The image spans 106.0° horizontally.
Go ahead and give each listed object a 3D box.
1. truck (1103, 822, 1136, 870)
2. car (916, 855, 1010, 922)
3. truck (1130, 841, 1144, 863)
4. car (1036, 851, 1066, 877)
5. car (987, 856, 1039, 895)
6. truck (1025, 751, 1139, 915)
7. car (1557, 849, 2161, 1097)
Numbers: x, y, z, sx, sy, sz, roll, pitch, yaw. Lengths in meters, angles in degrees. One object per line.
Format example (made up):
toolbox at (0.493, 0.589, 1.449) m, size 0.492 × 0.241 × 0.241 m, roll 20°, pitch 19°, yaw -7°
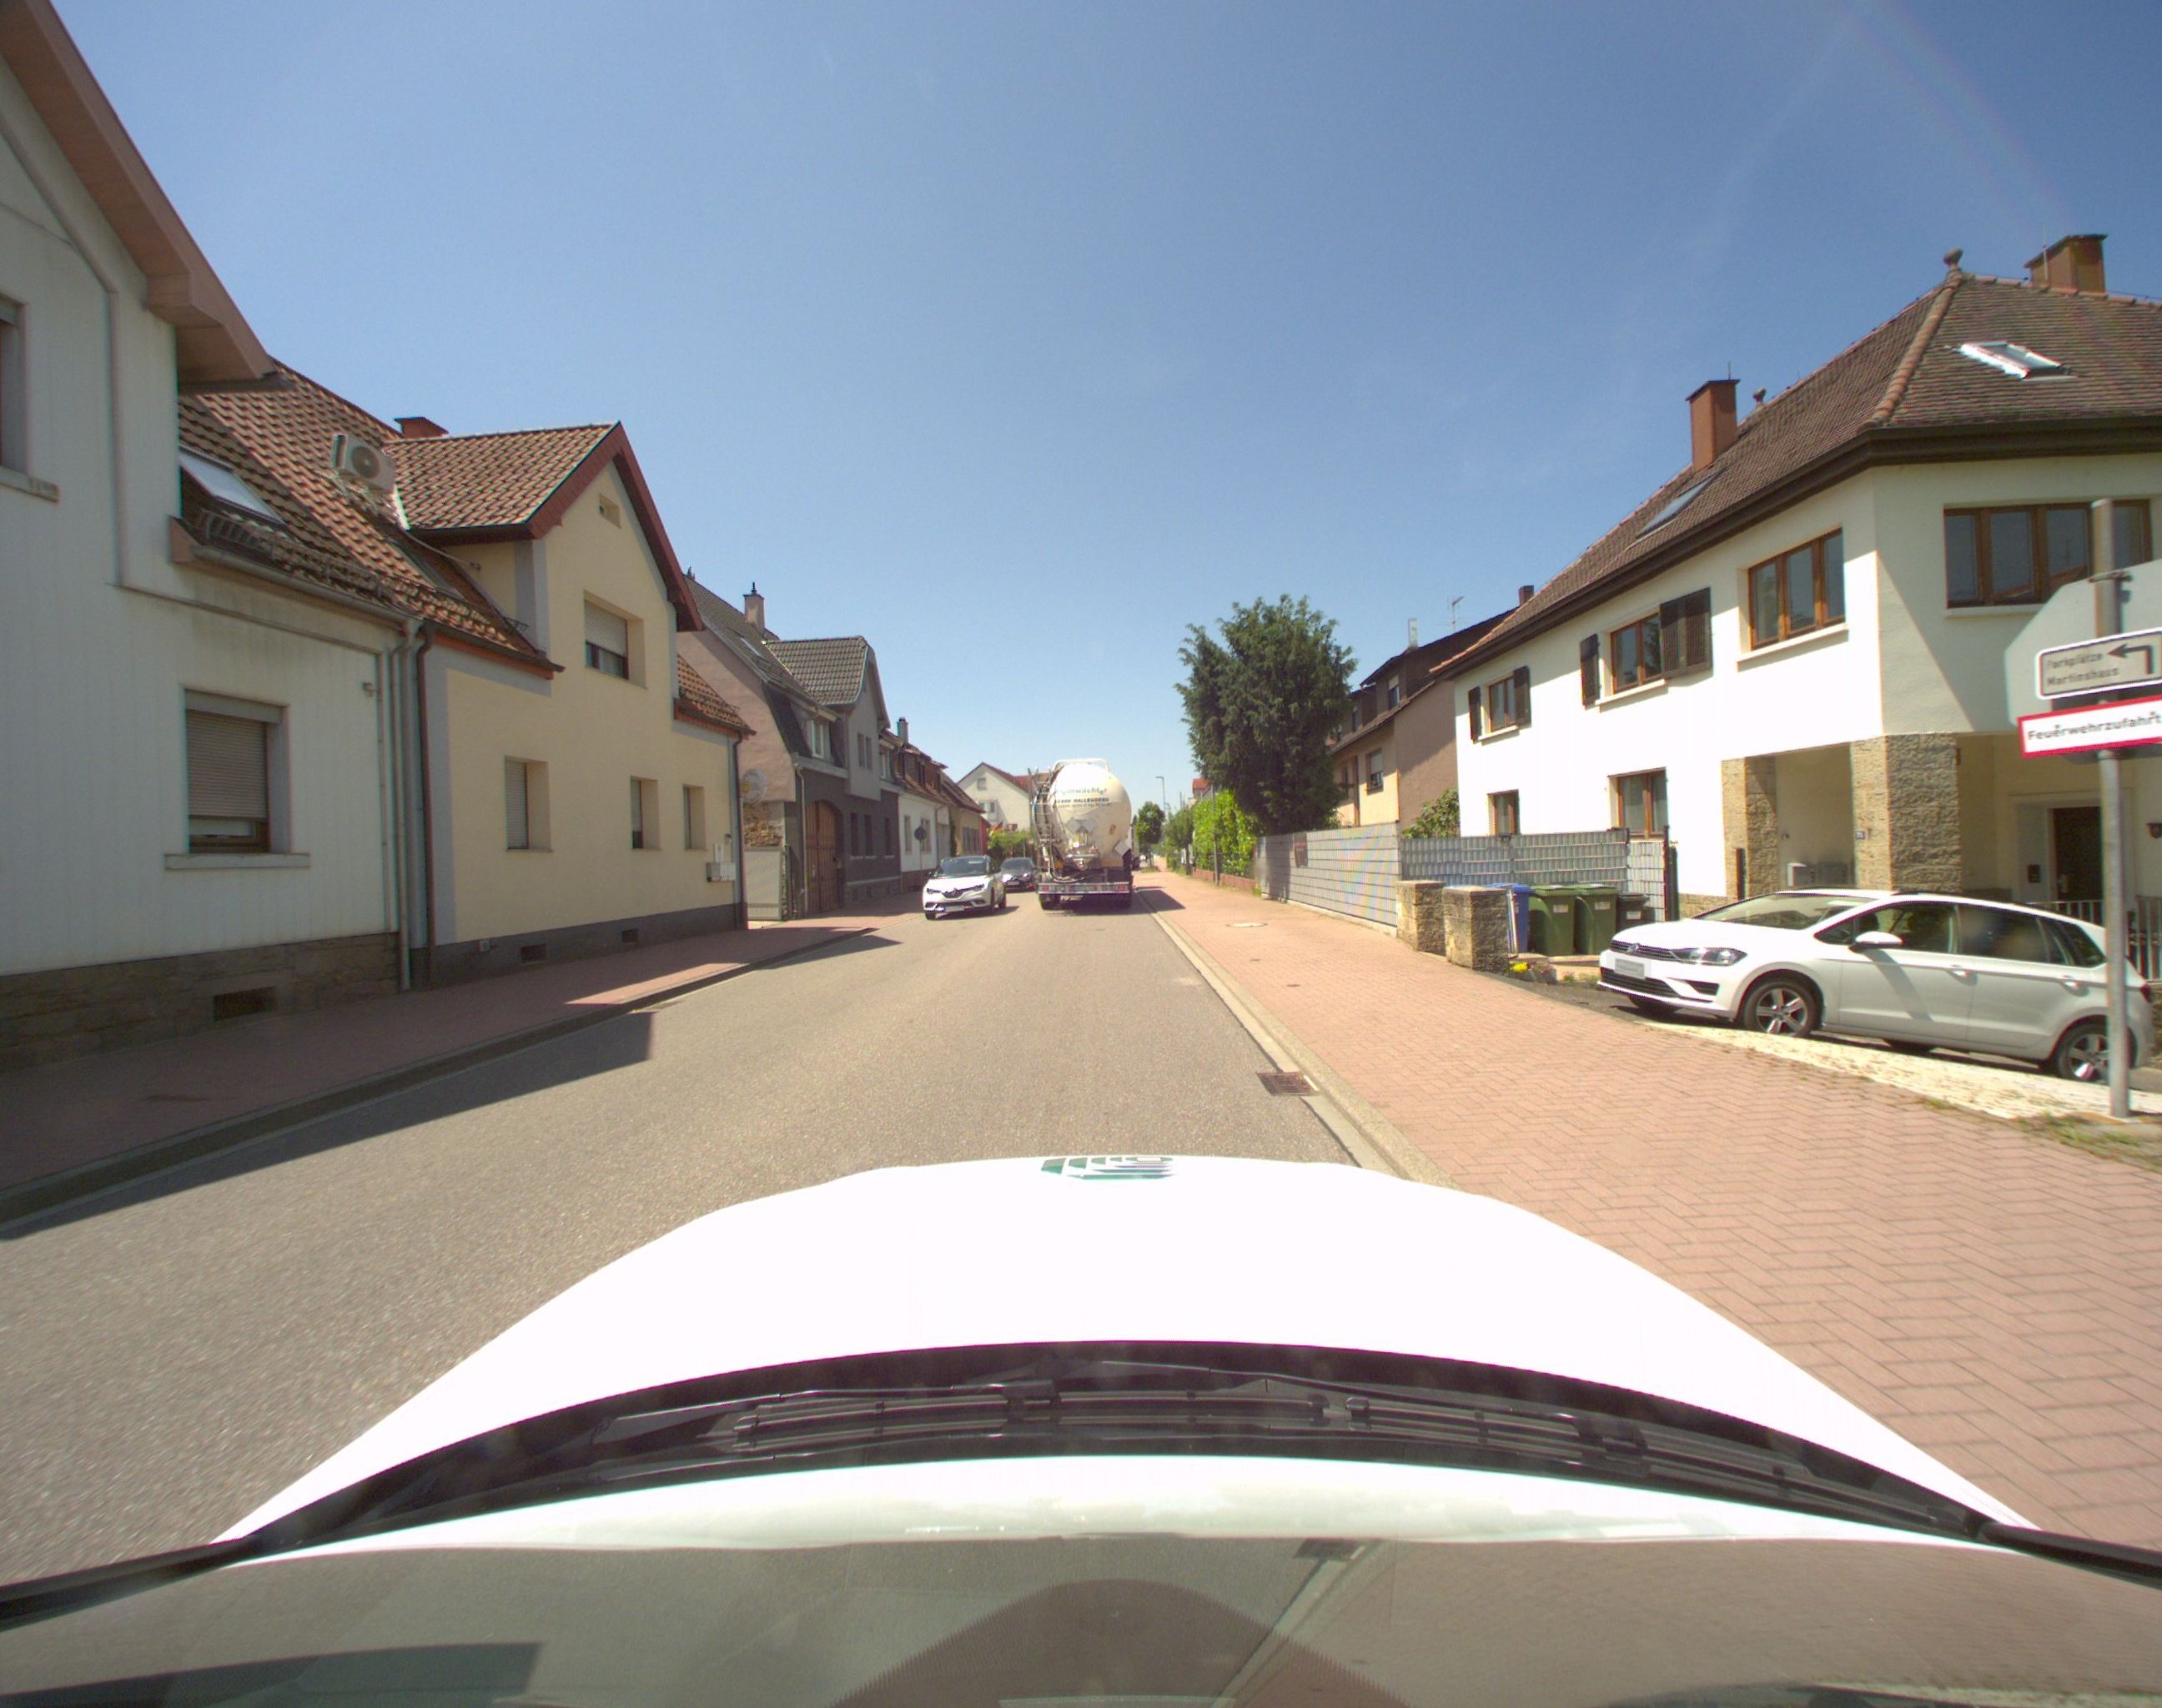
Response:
truck at (3.505, -0.636, 72.776) m, size 2.720 × 3.960 × 8.151 m, roll -1°, pitch -1°, yaw 4°
car at (-3.222, 0.889, 23.028) m, size 1.844 × 1.571 × 4.255 m, roll -4°, pitch 0°, yaw 1°
truck at (8.533, -0.302, 123.792) m, size 1.984 × 3.137 × 9.459 m, roll 0°, pitch 0°, yaw 4°
car at (-2.001, 0.663, 55.067) m, size 1.737 × 1.506 × 4.058 m, roll -4°, pitch 0°, yaw 0°
car at (-2.989, 0.932, 36.632) m, size 1.845 × 1.506 × 4.105 m, roll -4°, pitch 0°, yaw 0°
truck at (0.089, -0.476, 23.819) m, size 2.723 × 3.960 × 8.142 m, roll -1°, pitch -1°, yaw 1°
car at (7.422, 1.036, 8.069) m, size 4.155 × 1.587 × 1.907 m, roll 8°, pitch 0°, yaw 1°
